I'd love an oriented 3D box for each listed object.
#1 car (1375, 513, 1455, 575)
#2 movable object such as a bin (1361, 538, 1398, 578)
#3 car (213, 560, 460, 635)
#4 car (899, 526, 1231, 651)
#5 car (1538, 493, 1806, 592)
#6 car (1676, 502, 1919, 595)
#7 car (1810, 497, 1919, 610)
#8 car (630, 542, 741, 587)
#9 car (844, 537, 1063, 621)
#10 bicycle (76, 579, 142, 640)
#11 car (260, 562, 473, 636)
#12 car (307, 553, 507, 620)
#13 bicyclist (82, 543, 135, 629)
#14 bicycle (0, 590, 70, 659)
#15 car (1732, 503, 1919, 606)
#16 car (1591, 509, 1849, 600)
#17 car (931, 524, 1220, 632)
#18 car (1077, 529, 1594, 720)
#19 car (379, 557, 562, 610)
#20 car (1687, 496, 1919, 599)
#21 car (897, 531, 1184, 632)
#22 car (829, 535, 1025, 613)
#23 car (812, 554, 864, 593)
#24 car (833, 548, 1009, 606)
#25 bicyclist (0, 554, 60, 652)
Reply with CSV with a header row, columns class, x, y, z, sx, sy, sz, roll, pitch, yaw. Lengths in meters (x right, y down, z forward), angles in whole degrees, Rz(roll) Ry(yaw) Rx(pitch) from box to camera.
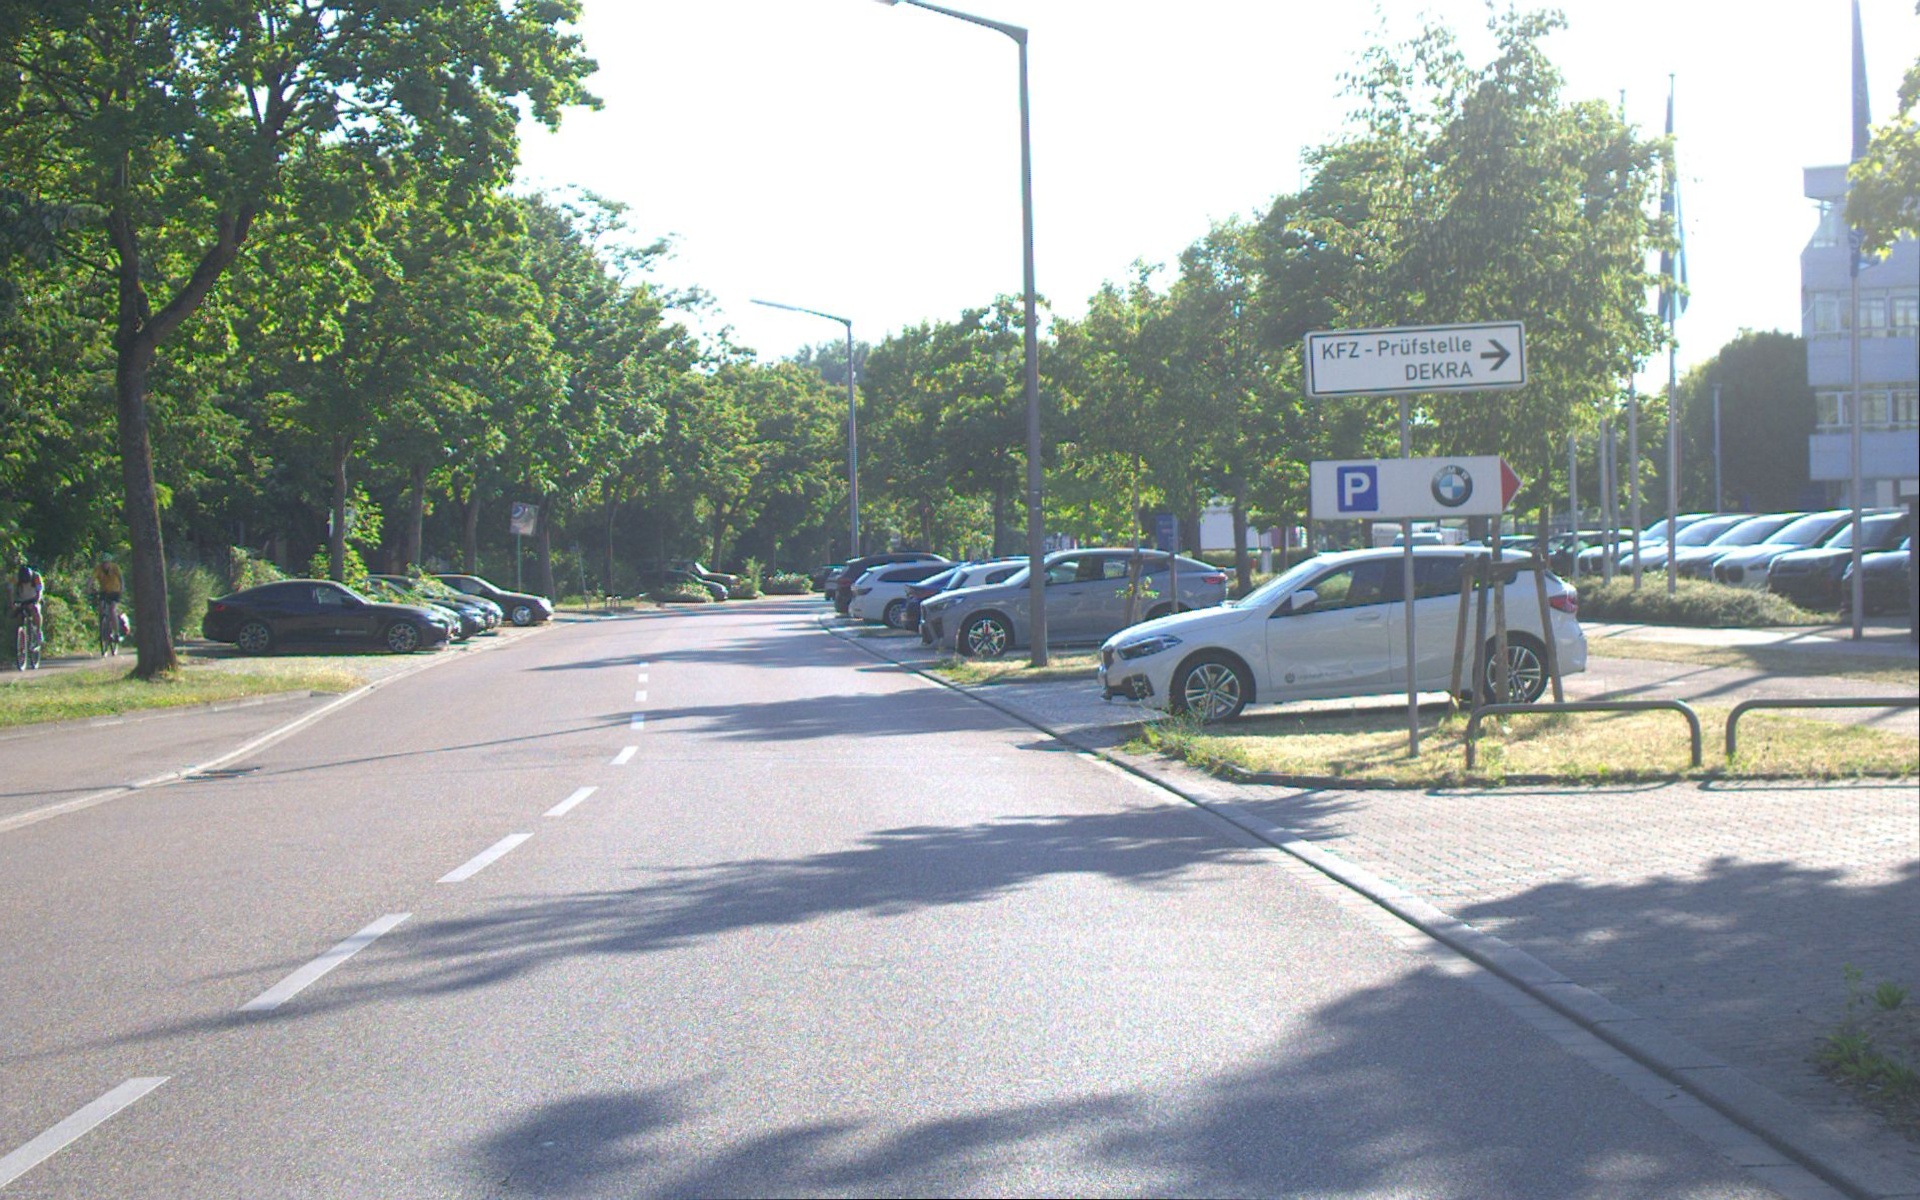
class,x,y,z,sx,sy,sz,roll,pitch,yaw
car,14.215,-1.759,107.213,2.032,1.821,4.974,-1,1,12
movable object such as a bin,13.615,-1.375,111.613,1.117,1.263,1.038,-1,1,3
car,-12.264,-0.051,67.882,4.648,1.417,1.917,0,1,-6
car,1.517,-0.184,50.714,4.589,1.579,2.000,-3,1,-7
car,14.064,-1.137,67.896,4.714,1.684,2.411,-3,1,-30
car,15.554,-0.954,62.910,4.590,1.568,2.000,-2,1,-30
car,15.478,-0.734,52.800,4.590,1.661,2.000,-1,1,-30
car,-13.054,-1.712,163.692,5.005,2.013,2.174,-1,1,4
car,-0.162,-0.479,76.568,4.694,1.474,2.001,-3,5,-4
bicycle,-15.419,0.164,62.321,0.765,1.036,2.218,-2,1,-4
car,-12.694,-0.036,73.718,4.286,1.525,2.000,0,1,-3
car,-13.042,-0.318,81.215,4.479,1.525,2.000,0,1,-3
bicyclist,-15.397,-0.252,62.160,0.730,1.525,0.951,-2,1,-4
bicycle,-14.846,0.380,54.939,0.765,1.036,2.218,-2,1,-4
car,14.934,-0.762,55.683,4.590,1.568,2.000,-2,1,-30
car,14.401,-0.860,65.084,4.590,1.568,2.000,-2,1,-30
car,1.813,-0.360,55.008,4.375,1.474,2.000,-3,1,-4
car,3.294,0.192,30.758,4.197,1.439,2.088,-3,1,-5
car,-13.974,-0.473,98.401,5.034,1.457,2.000,0,1,-3
car,14.881,-0.923,58.637,4.590,1.568,2.000,-3,1,-29
car,1.322,-0.327,58.088,4.624,1.451,2.000,-3,1,-4
car,-0.784,-0.646,84.037,4.695,1.745,2.192,-2,1,1
car,-5.654,-1.248,159.878,1.994,1.711,4.000,0,1,4
car,-1.048,-0.607,90.132,4.480,1.399,2.034,-1,1,-4
bicyclist,-14.826,0.037,54.746,0.730,1.525,0.951,-2,1,-4
